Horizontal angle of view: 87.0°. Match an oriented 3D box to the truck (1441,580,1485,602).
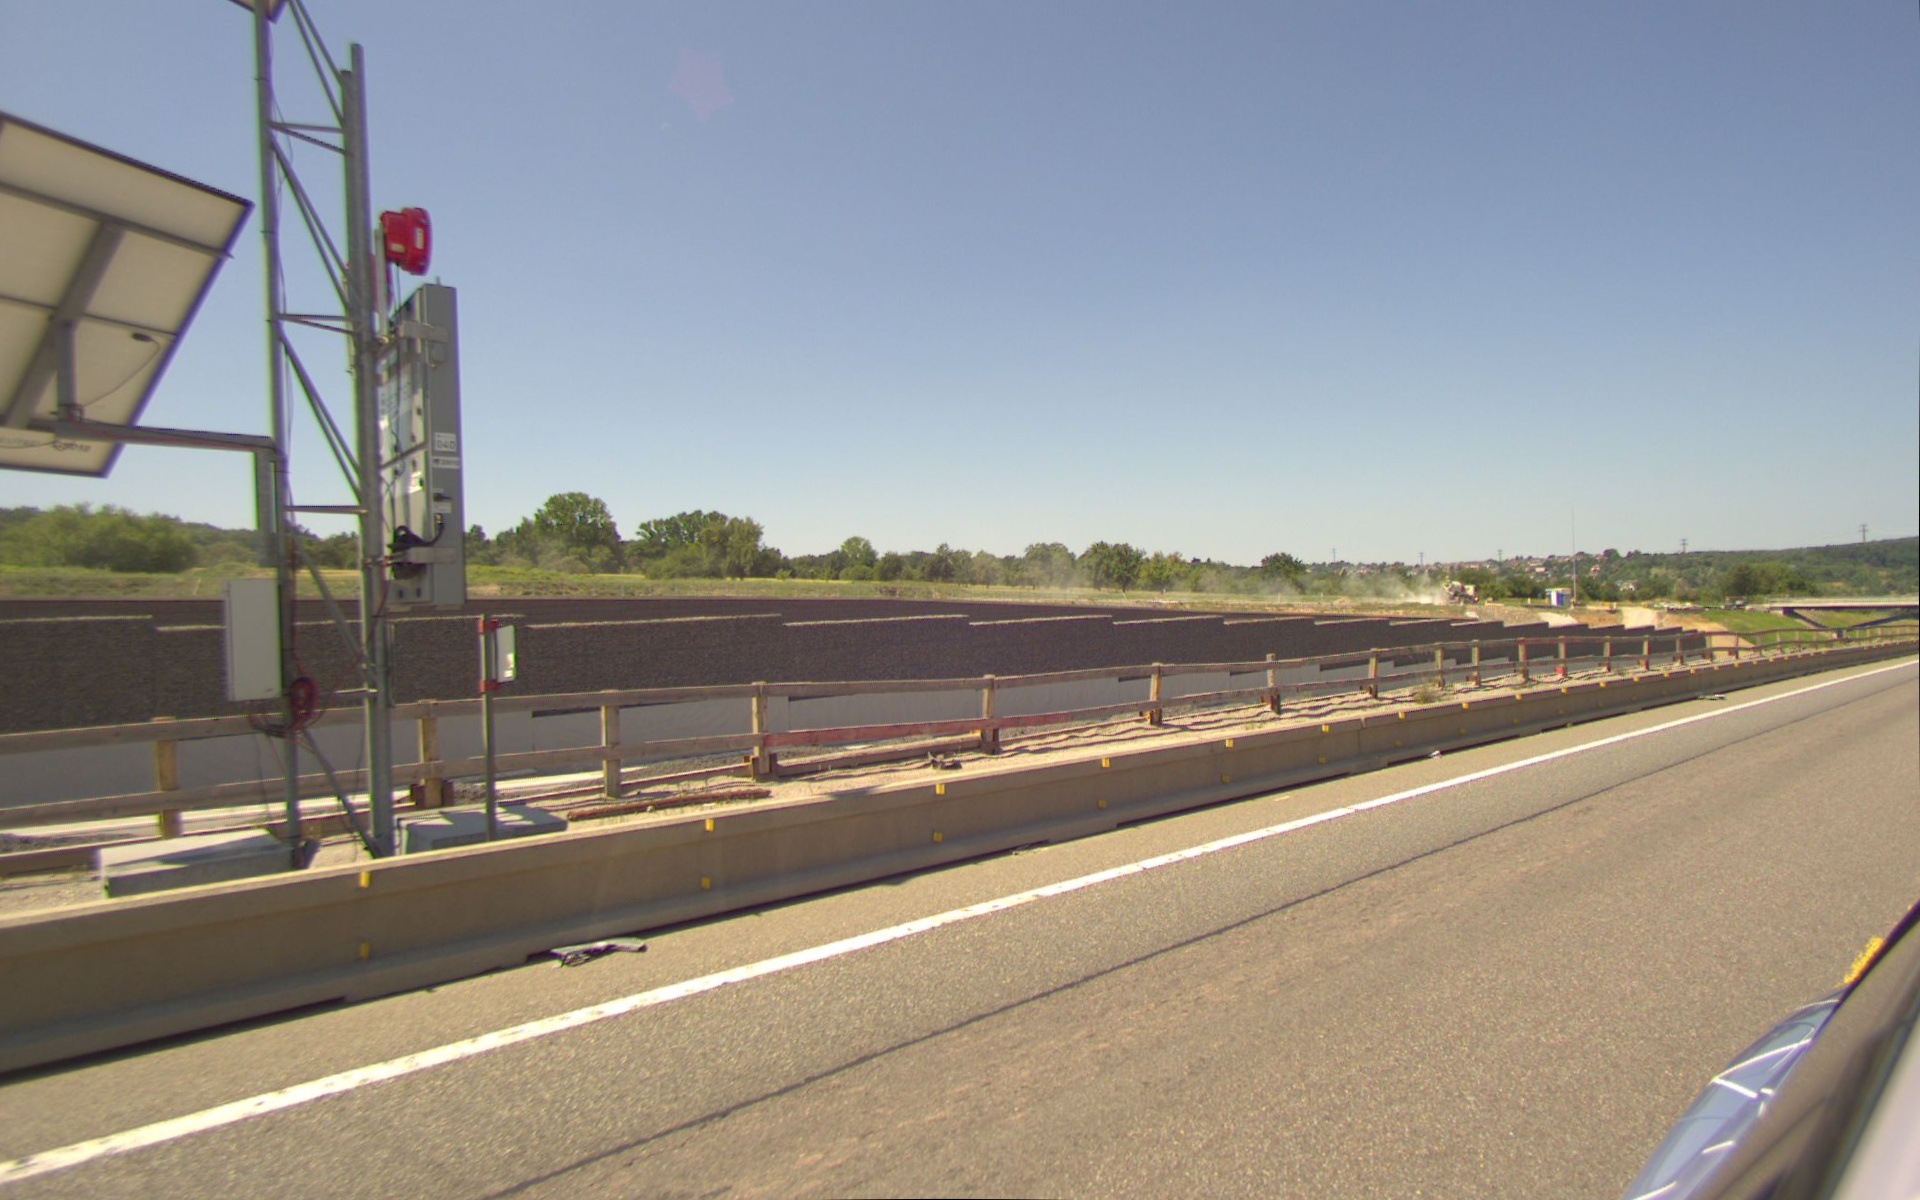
[{"bbox_3d":[82.598,-1.423,166.114,8.597,3.510,3.154,0,-2,-39],"label":"truck"}]
